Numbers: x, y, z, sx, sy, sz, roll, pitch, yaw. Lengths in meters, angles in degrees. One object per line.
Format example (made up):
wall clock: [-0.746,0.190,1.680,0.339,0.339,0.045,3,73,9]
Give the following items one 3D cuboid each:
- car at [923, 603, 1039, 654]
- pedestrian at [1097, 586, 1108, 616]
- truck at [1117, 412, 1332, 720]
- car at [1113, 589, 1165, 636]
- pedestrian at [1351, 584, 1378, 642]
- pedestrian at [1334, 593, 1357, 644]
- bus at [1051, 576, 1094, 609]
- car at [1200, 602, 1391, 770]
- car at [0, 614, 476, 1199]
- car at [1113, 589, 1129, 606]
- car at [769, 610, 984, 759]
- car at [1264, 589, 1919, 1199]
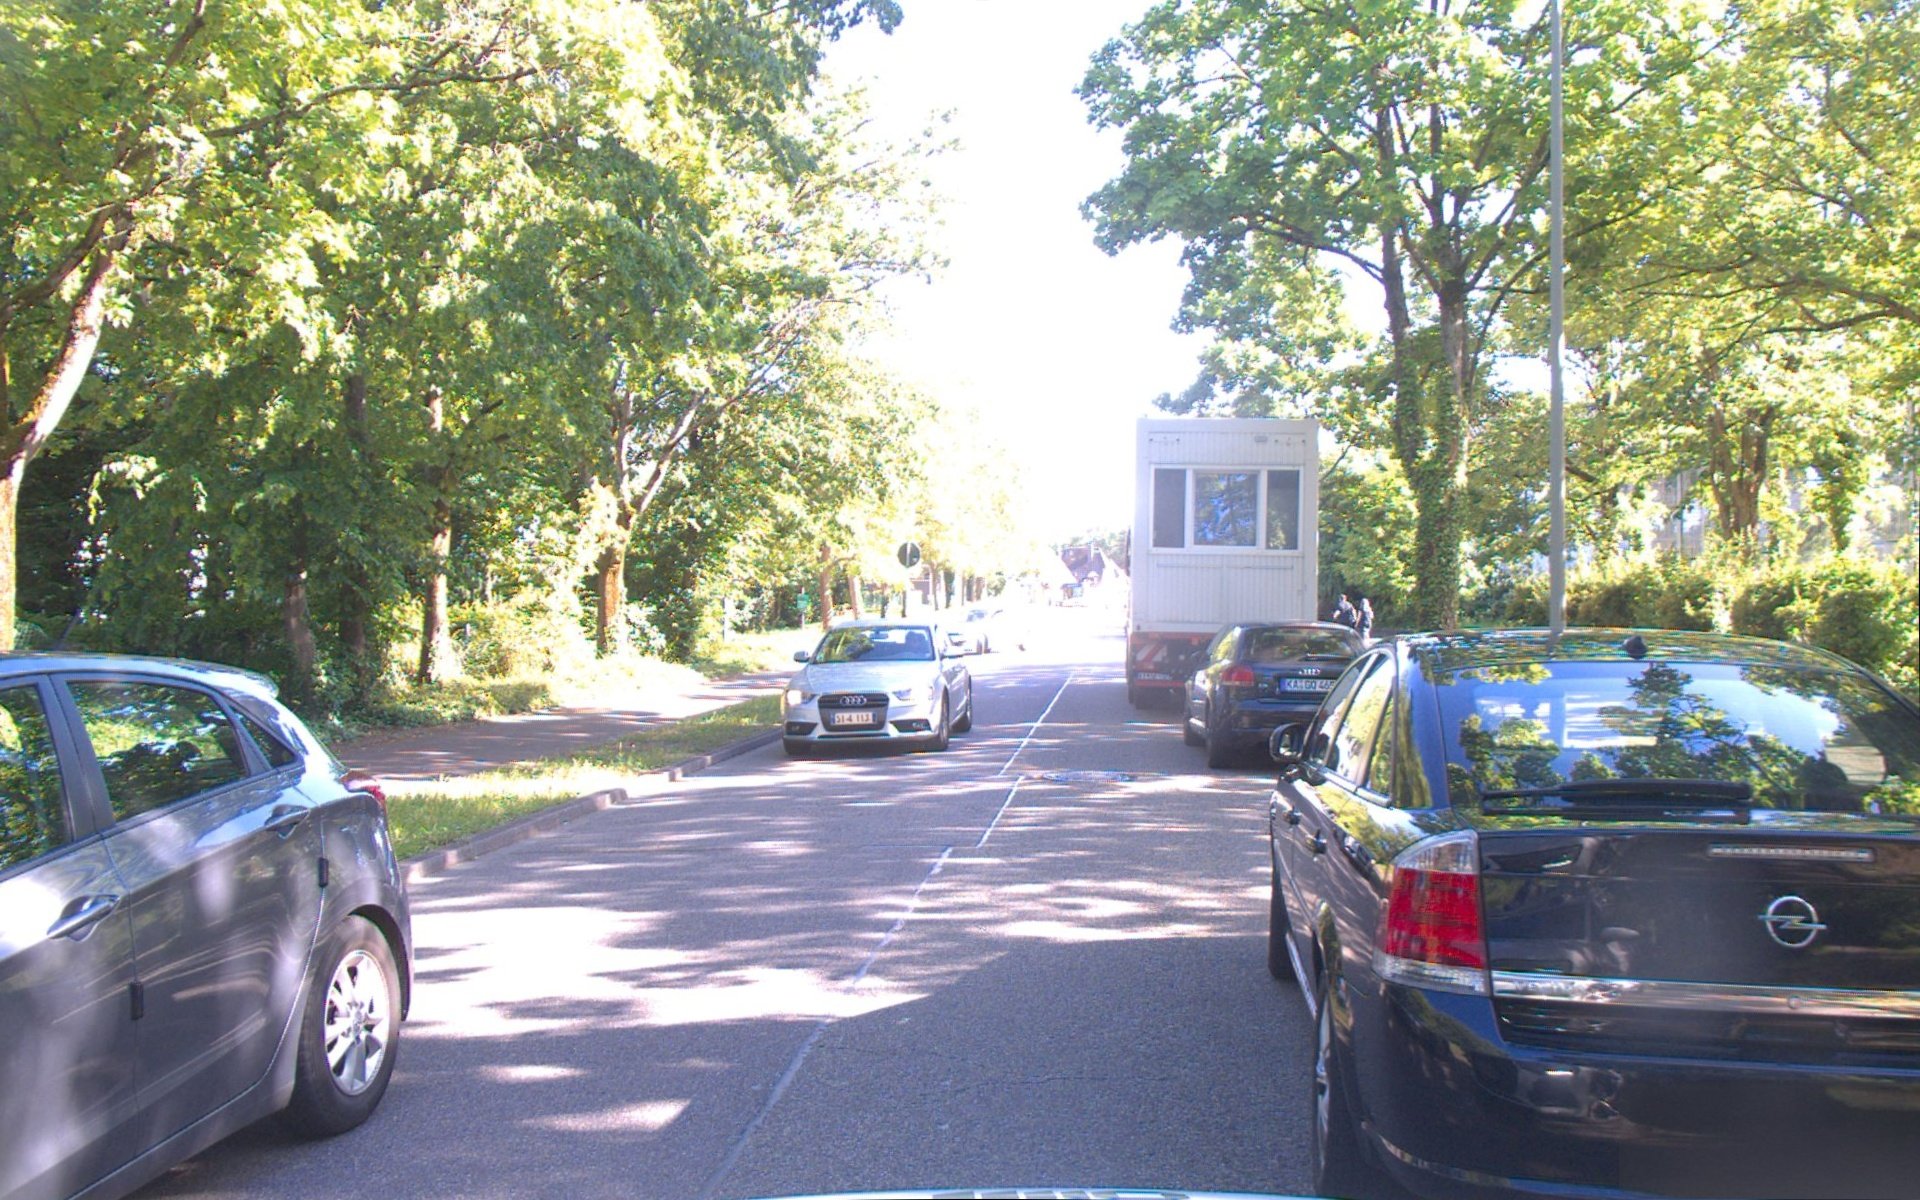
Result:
car: [0.712,0.874,52.150,1.774,1.445,3.947,-2,0,34]
pedestrian: [10.417,0.058,120.722,0.736,2.150,0.799,1,0,8]
truck: [4.007,-0.481,27.216,2.714,4.066,10.354,1,0,5]
car: [7.465,0.511,69.236,1.906,1.875,4.001,0,0,3]
pedestrian: [13.057,0.408,53.366,0.683,1.844,0.700,-2,0,3]
pedestrian: [12.492,0.595,53.564,0.586,1.639,0.600,-2,0,3]
bus: [12.418,-0.821,182.236,3.978,3.407,9.808,-2,0,8]
car: [3.324,0.789,16.976,1.605,1.445,4.003,-2,0,8]
car: [-2.683,0.827,3.464,1.718,1.479,4.245,-2,0,5]
car: [18.541,-0.293,190.572,1.743,1.840,4.002,-1,0,5]
car: [-0.839,0.888,19.079,1.749,1.441,4.107,-2,0,7]
car: [1.921,0.755,5.122,1.711,1.506,4.033,0,0,7]
